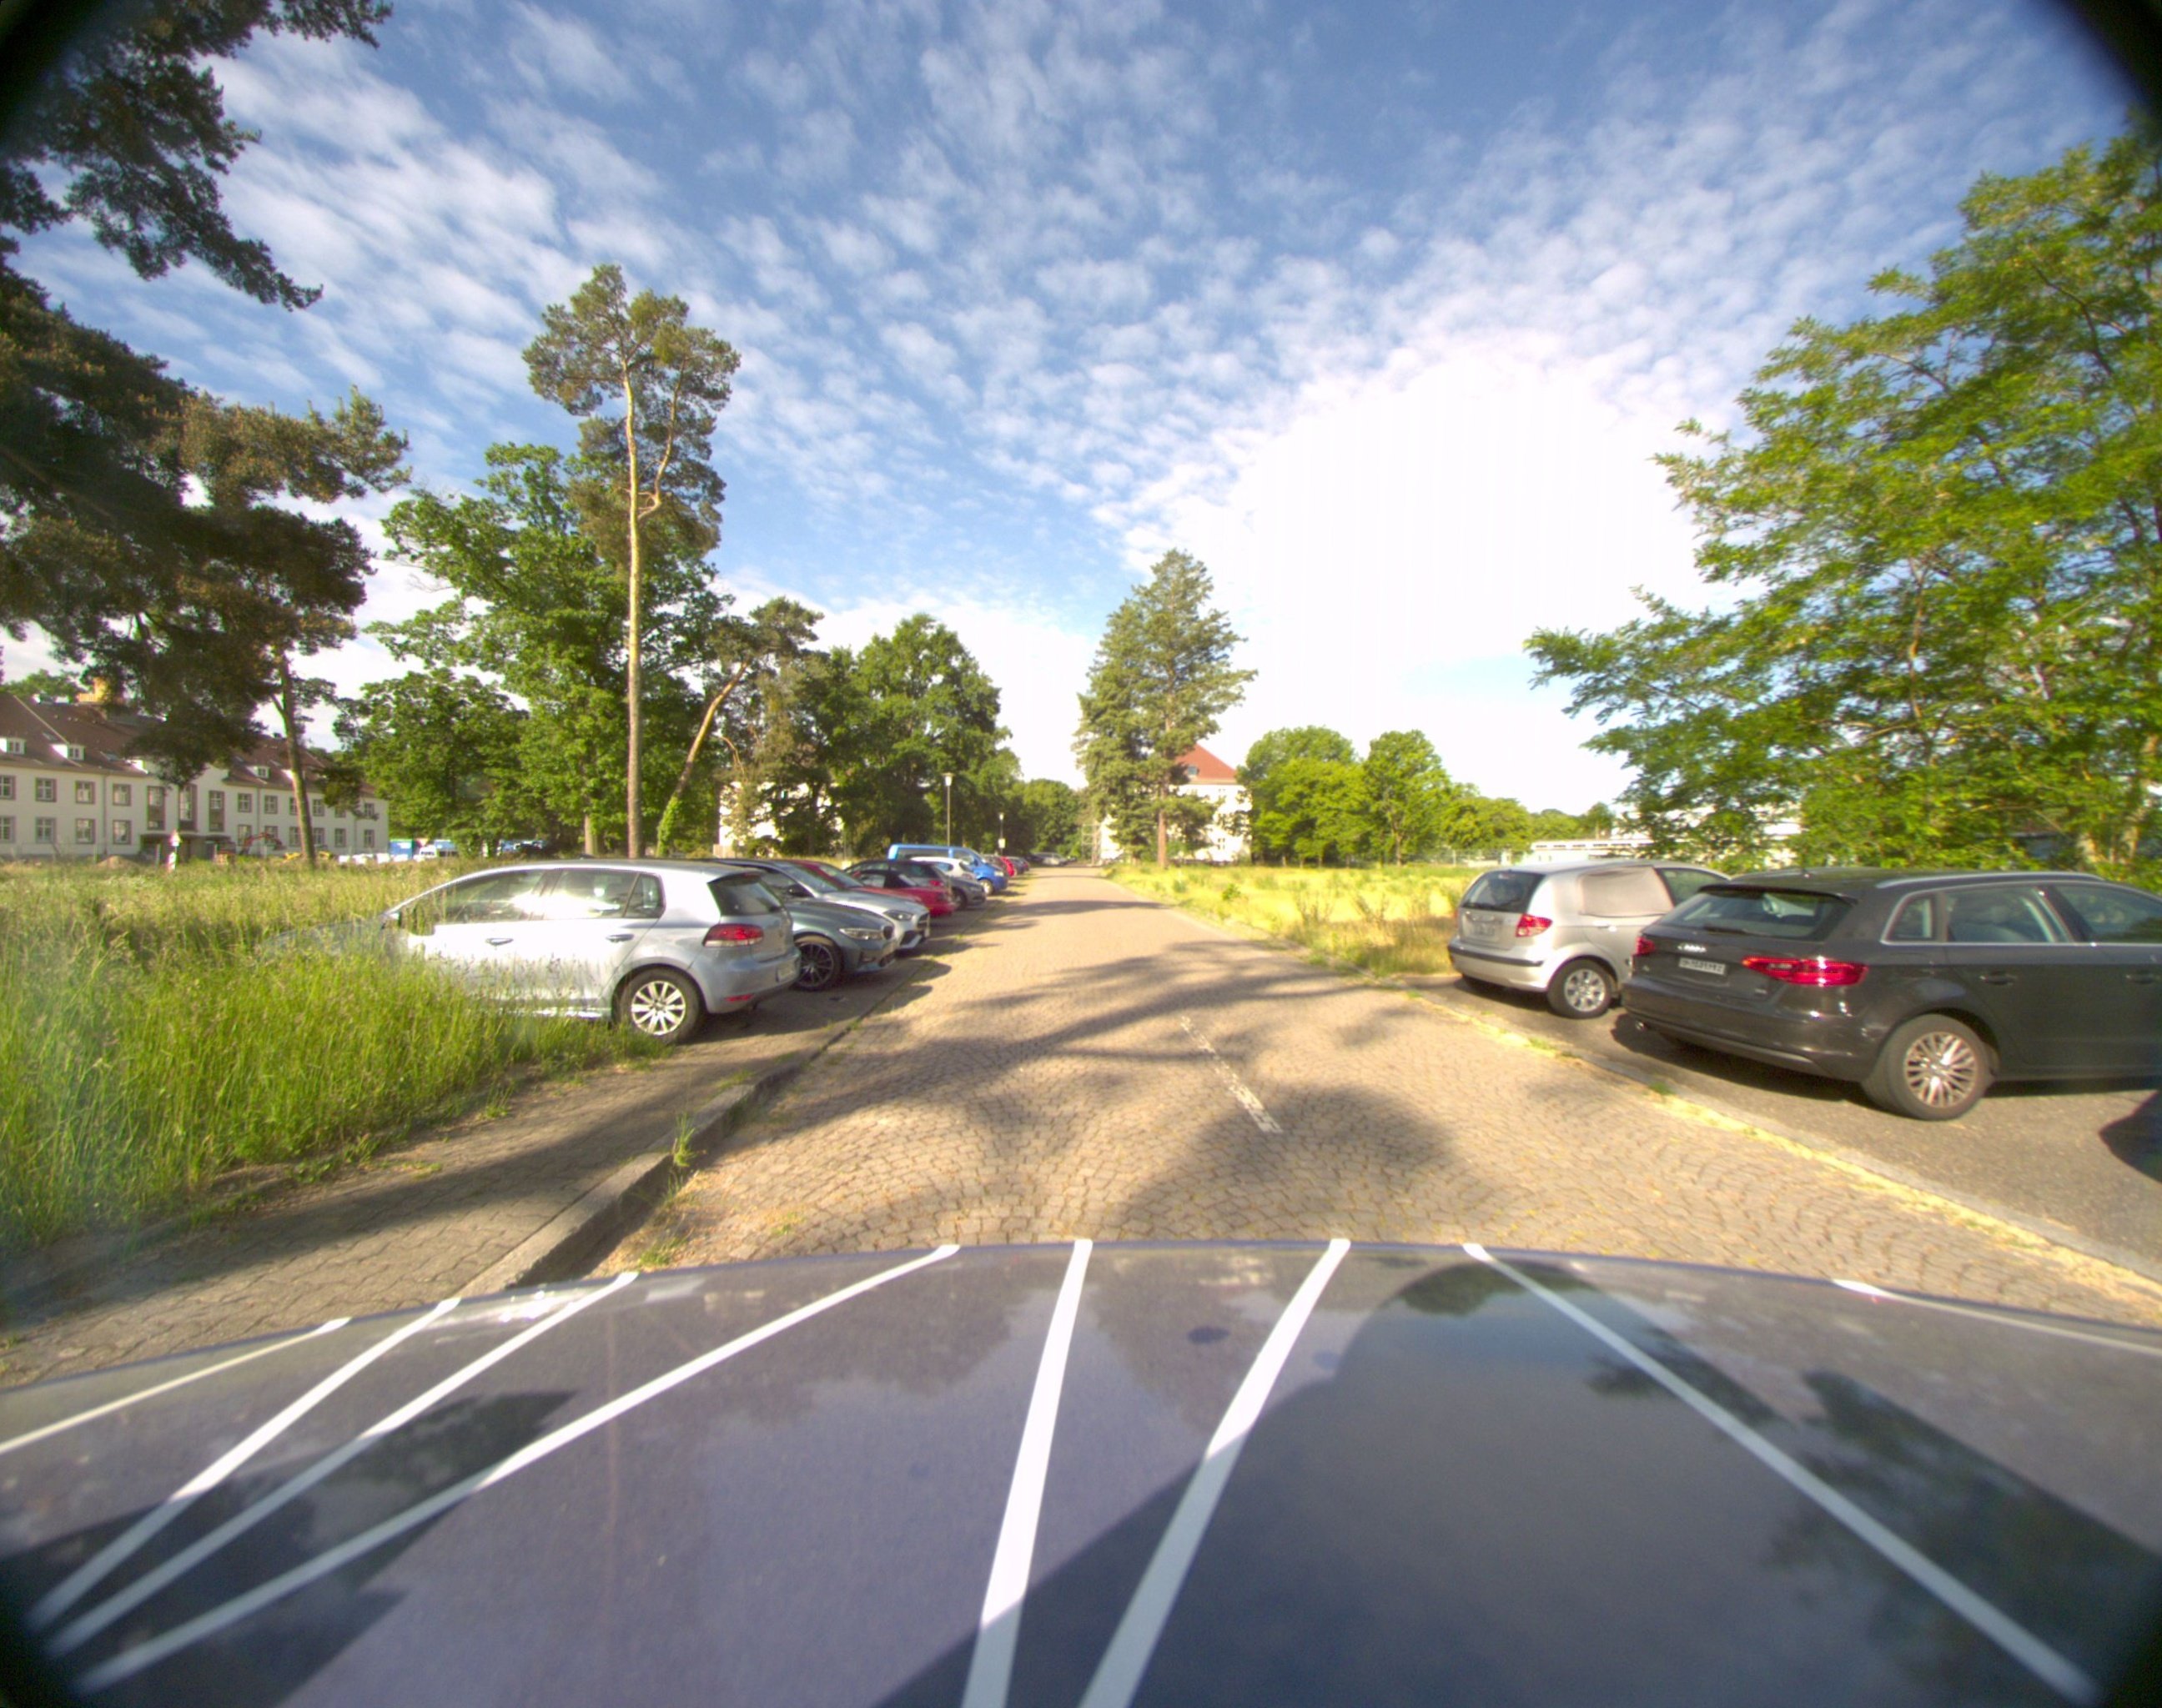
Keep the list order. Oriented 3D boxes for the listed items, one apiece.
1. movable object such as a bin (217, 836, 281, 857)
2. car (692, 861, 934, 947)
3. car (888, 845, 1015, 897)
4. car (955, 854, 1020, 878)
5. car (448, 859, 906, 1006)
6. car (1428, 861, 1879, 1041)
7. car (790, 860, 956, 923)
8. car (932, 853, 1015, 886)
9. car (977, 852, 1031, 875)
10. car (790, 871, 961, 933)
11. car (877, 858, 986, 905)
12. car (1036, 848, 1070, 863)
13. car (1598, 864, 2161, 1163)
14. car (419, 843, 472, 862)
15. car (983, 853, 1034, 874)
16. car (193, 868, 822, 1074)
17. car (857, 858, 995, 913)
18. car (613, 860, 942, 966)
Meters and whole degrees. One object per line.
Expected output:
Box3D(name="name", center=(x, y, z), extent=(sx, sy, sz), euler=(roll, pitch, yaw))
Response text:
Box3D(name="movable object such as a bin", center=(-92.816, -0.827, 84.864), extent=(1.999, 2.309, 4.984), euler=(0, 0, -5))
Box3D(name="car", center=(-4.880, 0.899, 14.229), extent=(3.918, 1.385, 1.660), euler=(2, 1, -2))
Box3D(name="car", center=(-5.110, 0.647, 30.371), extent=(4.727, 2.002, 2.000), euler=(0, 1, 0))
Box3D(name="car", center=(-6.072, 0.780, 49.586), extent=(3.996, 1.509, 1.757), euler=(0, 1, 1))
Box3D(name="car", center=(-4.563, 0.881, 9.197), extent=(4.508, 1.508, 1.825), euler=(1, 0, -5))
Box3D(name="car", center=(5.702, 0.891, 7.832), extent=(3.475, 1.462, 1.636), euler=(-2, 1, -4))
Box3D(name="car", center=(-5.140, 0.919, 19.126), extent=(3.780, 1.482, 1.549), euler=(0, 1, -2))
Box3D(name="car", center=(-5.525, 0.780, 39.300), extent=(3.996, 1.630, 1.757), euler=(0, 1, 1))
Box3D(name="car", center=(-6.054, 0.730, 59.837), extent=(3.996, 1.731, 1.757), euler=(-1, 1, 1))
Box3D(name="car", center=(-4.396, 1.019, 16.558), extent=(3.357, 1.248, 1.419), euler=(0, 1, -2))
Box3D(name="car", center=(-4.875, 0.884, 24.991), extent=(3.265, 1.482, 1.449), euler=(0, 1, 1))
Box3D(name="car", center=(-4.193, 0.243, 113.353), extent=(5.069, 2.251, 1.999), euler=(0, 1, -2))
Box3D(name="car", center=(5.970, 0.900, 5.140), extent=(3.807, 1.462, 1.687), euler=(-2, 1, -2))
Box3D(name="car", center=(-70.729, -0.141, 84.683), extent=(1.999, 2.002, 4.772), euler=(0, 0, -1))
Box3D(name="car", center=(-6.143, 0.788, 64.633), extent=(3.996, 1.605, 1.756), euler=(-2, 2, 3))
Box3D(name="car", center=(-4.609, 0.908, 6.653), extent=(4.026, 1.452, 1.870), euler=(1, 1, -2))
Box3D(name="car", center=(-4.472, 0.873, 22.150), extent=(3.621, 1.482, 1.508), euler=(0, 1, 8))
Box3D(name="car", center=(-4.561, 0.877, 11.974), extent=(4.423, 1.394, 1.825), euler=(2, 0, -3))
